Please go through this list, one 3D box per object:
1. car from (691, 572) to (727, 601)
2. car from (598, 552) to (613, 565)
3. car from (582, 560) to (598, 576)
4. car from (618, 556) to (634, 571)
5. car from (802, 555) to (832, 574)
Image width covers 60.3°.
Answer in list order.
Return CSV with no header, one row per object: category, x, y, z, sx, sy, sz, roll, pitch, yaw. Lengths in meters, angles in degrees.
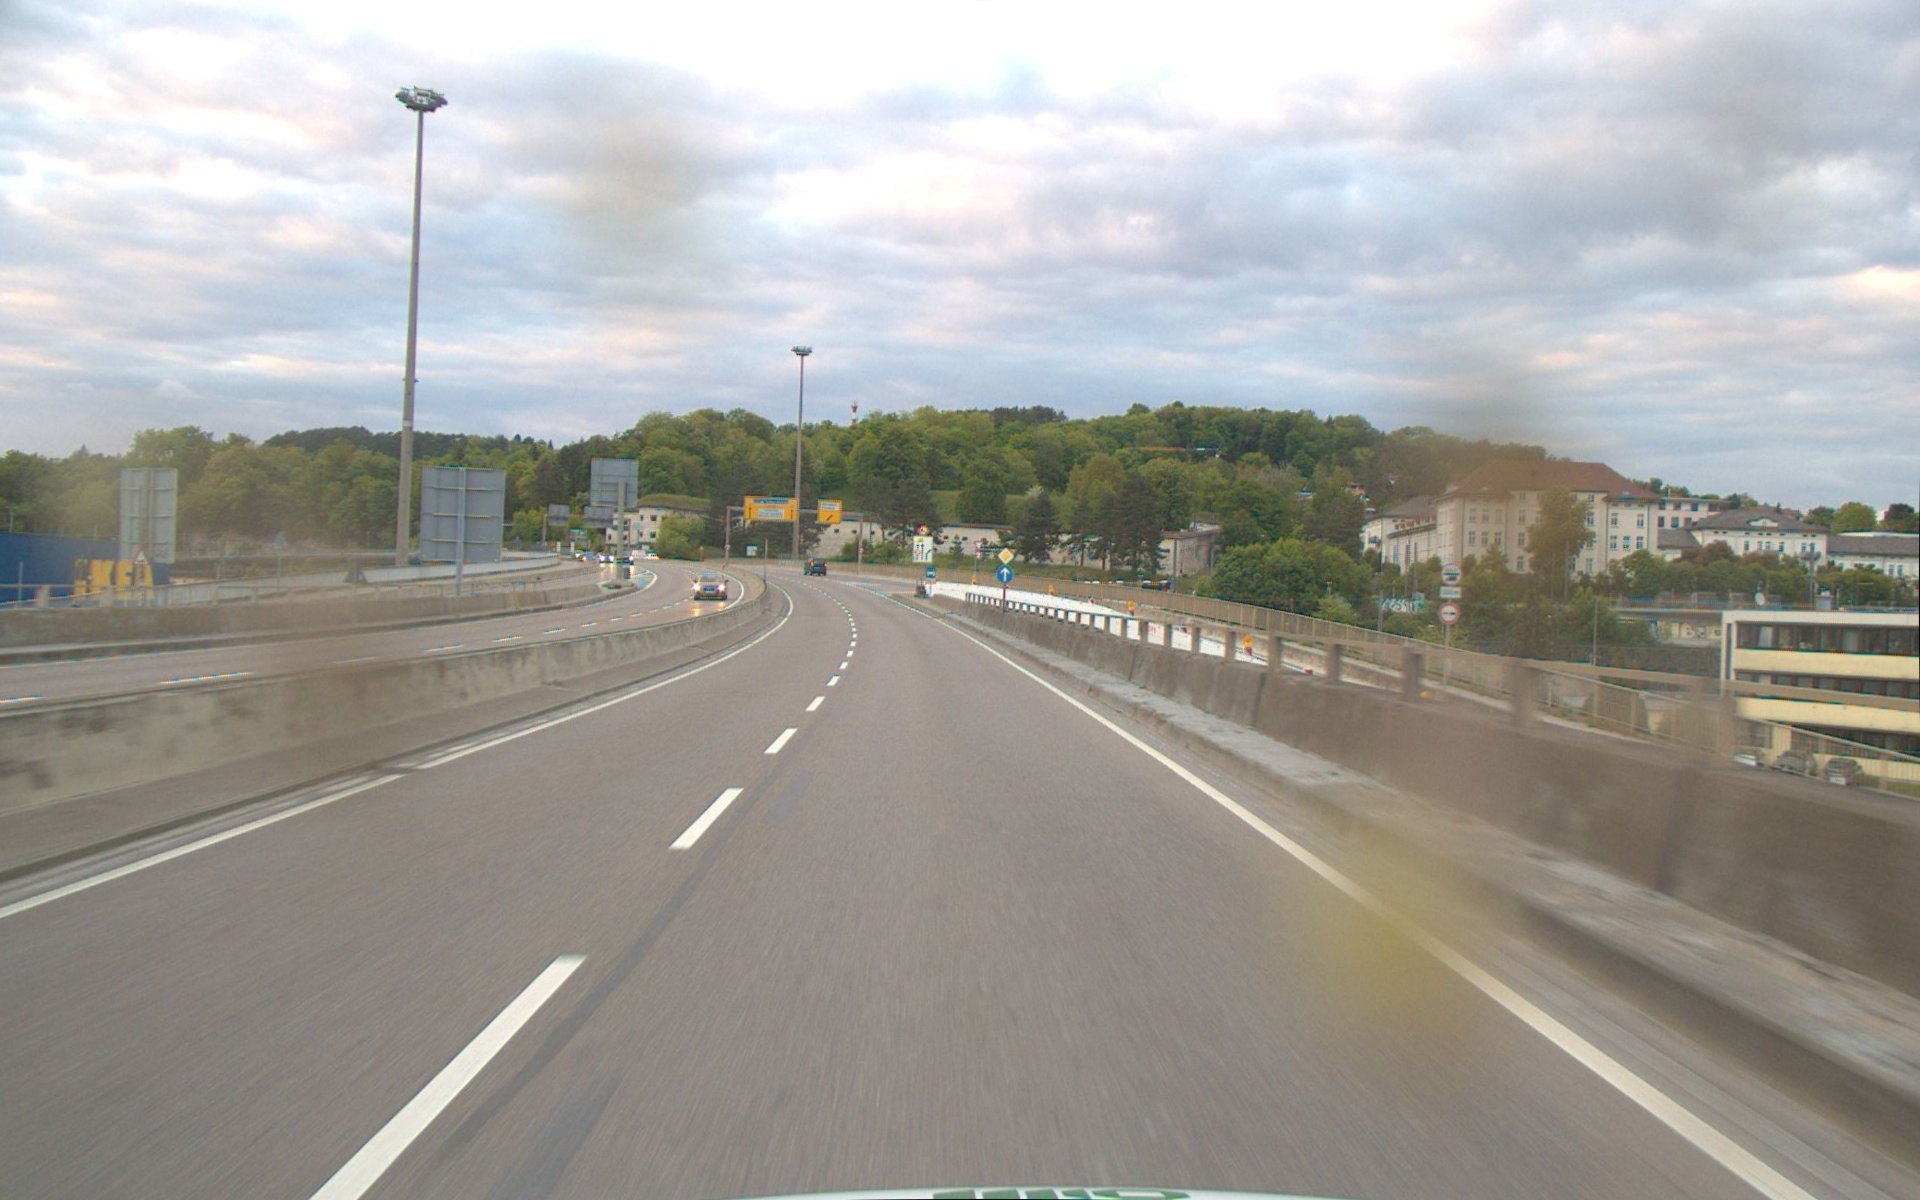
car,-13.723,-0.717,90.595,1.794,1.506,4.281,1,0,-7
car,-47.686,-5.574,222.636,1.767,1.512,3.825,1,0,-15
car,-53.777,-4.672,240.552,1.961,2.047,3.987,8,1,-14
car,-41.186,-4.492,203.838,1.610,1.747,3.983,-3,1,-15
car,-15.138,-3.745,174.842,2.268,1.794,4.243,3,1,-17
